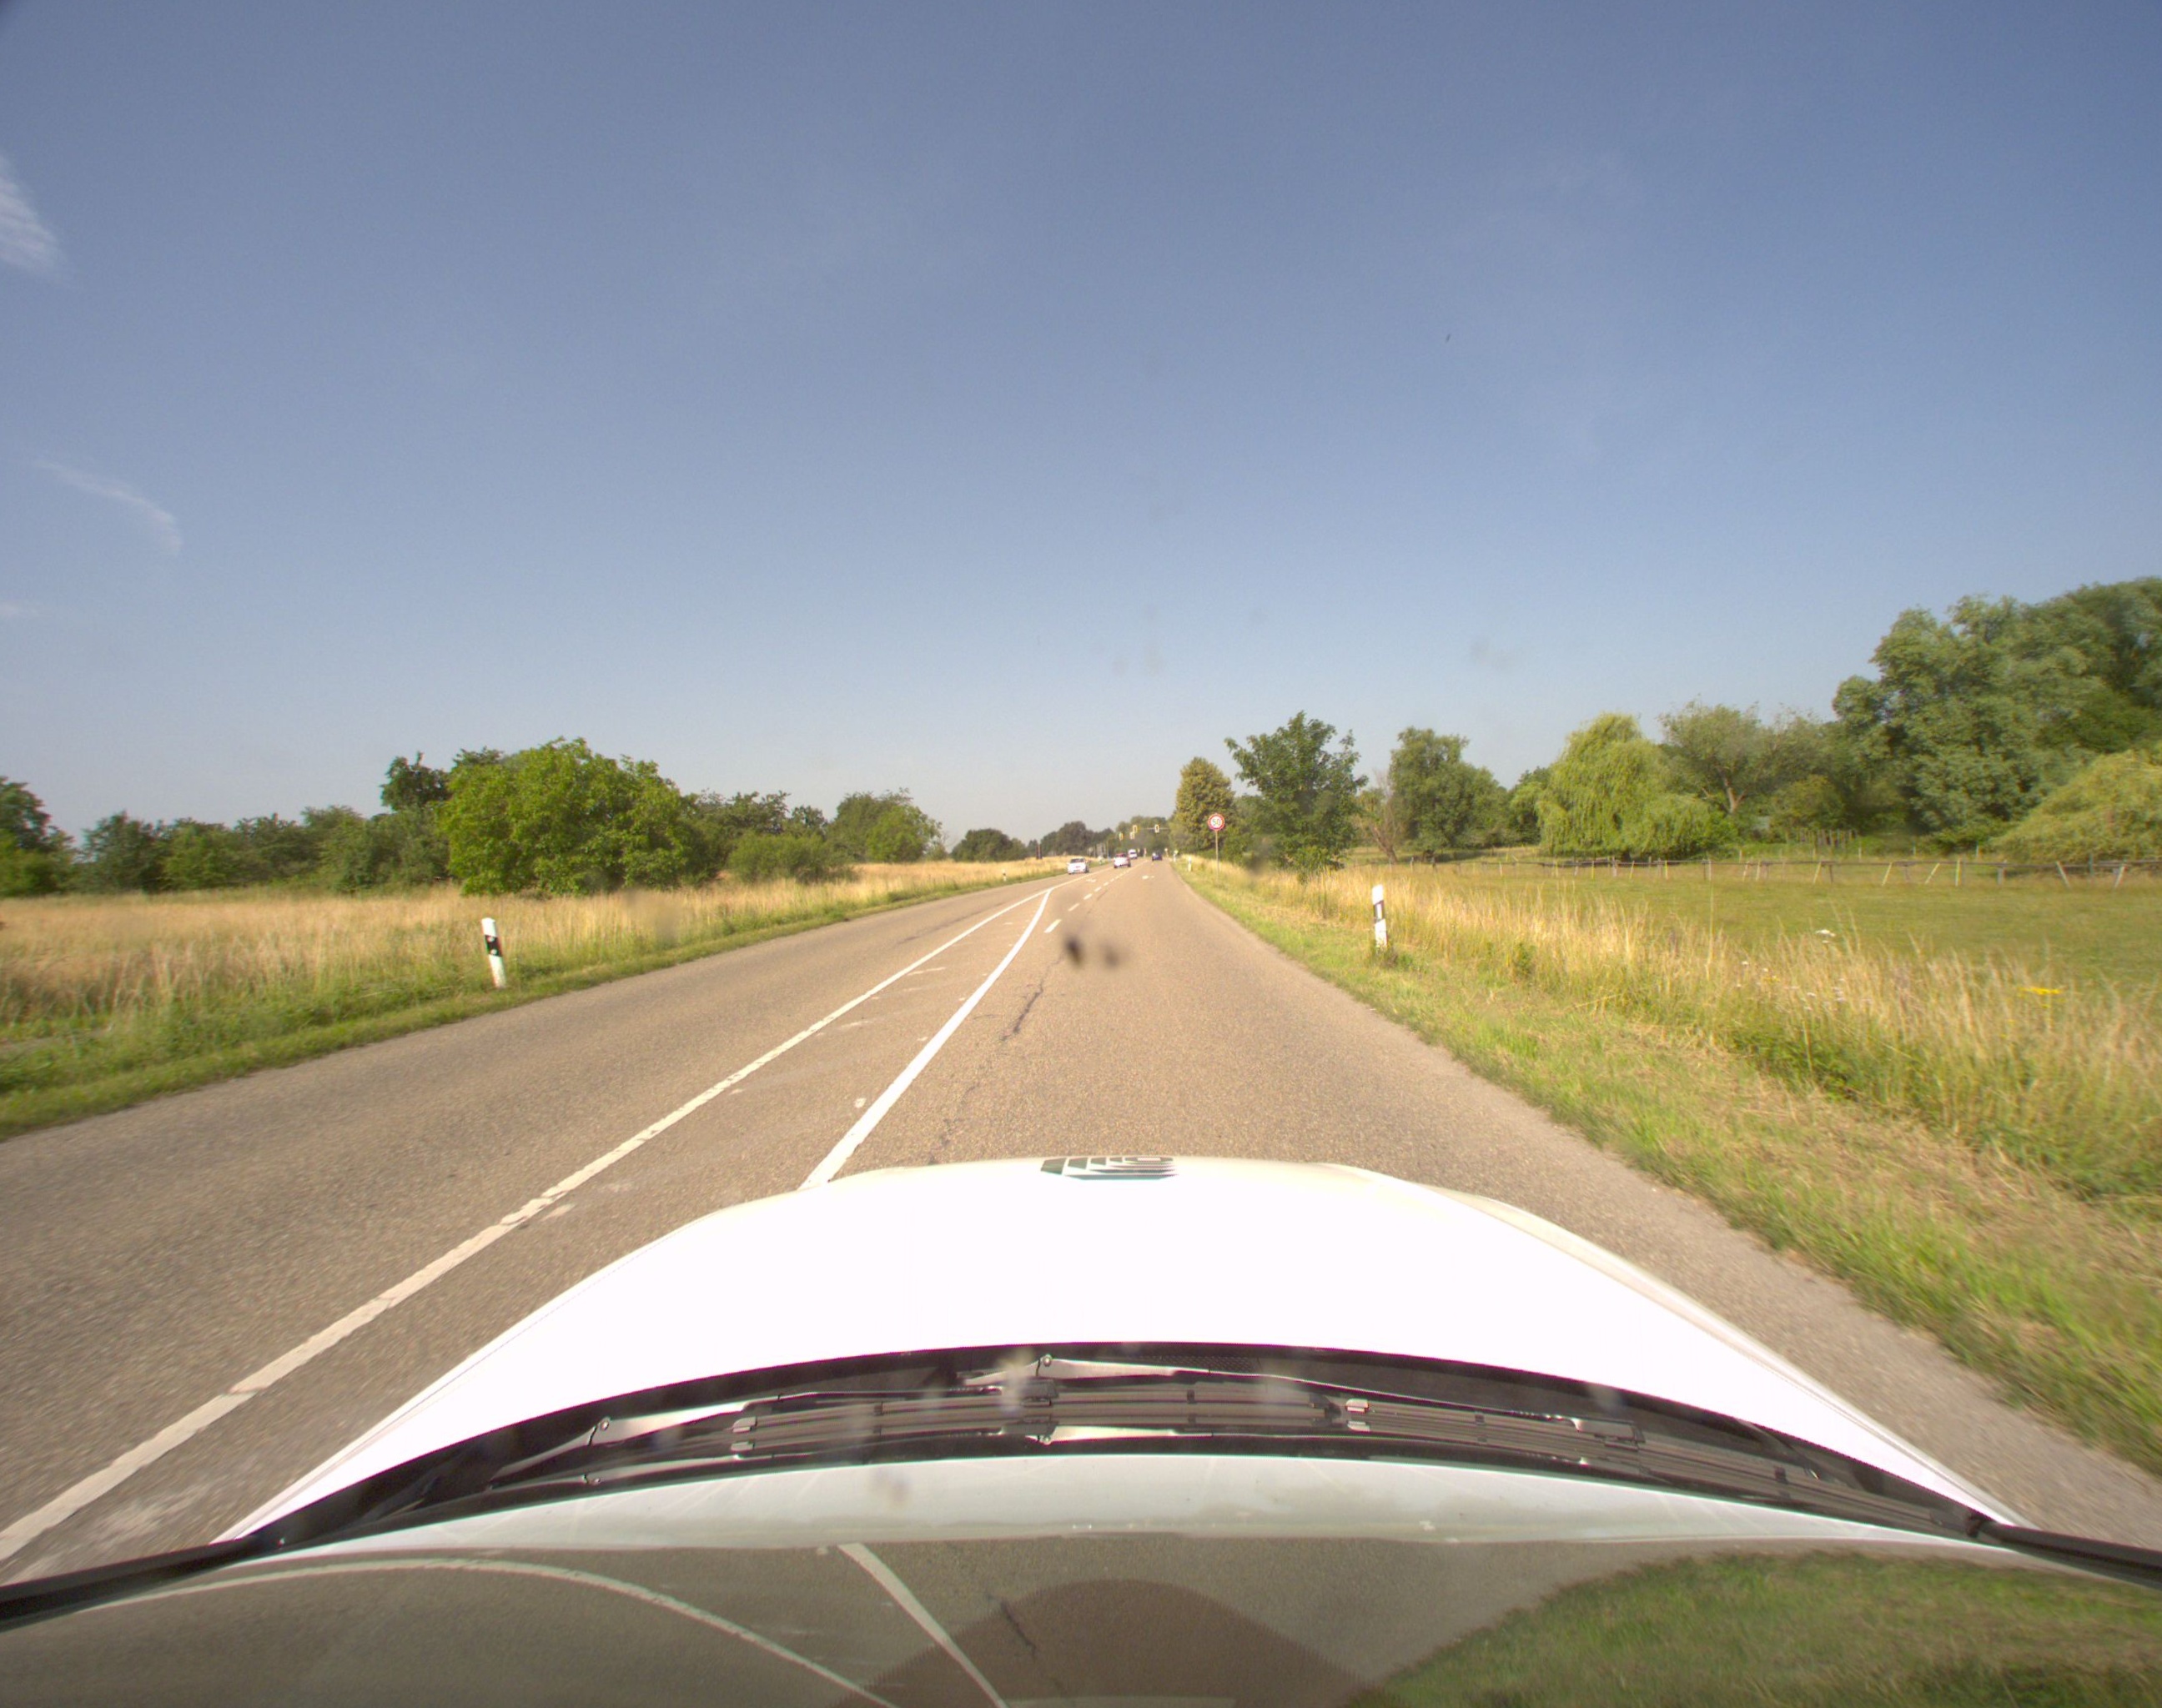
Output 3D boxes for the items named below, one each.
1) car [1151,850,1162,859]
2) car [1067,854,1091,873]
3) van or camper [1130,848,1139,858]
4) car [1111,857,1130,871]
[{"bbox_3d":[12.895,0.073,139.199,1.807,1.520,4.007,-3,0,6],"label":"car"},{"bbox_3d":[-0.169,0.898,78.853,1.804,1.585,4.230,-3,0,5],"label":"car"},{"bbox_3d":[14.760,-0.154,225.484,2.253,2.709,5.272,-1,0,6],"label":"van or camper"},{"bbox_3d":[4.573,1.157,93.186,1.889,1.512,4.007,-1,0,6],"label":"car"}]
